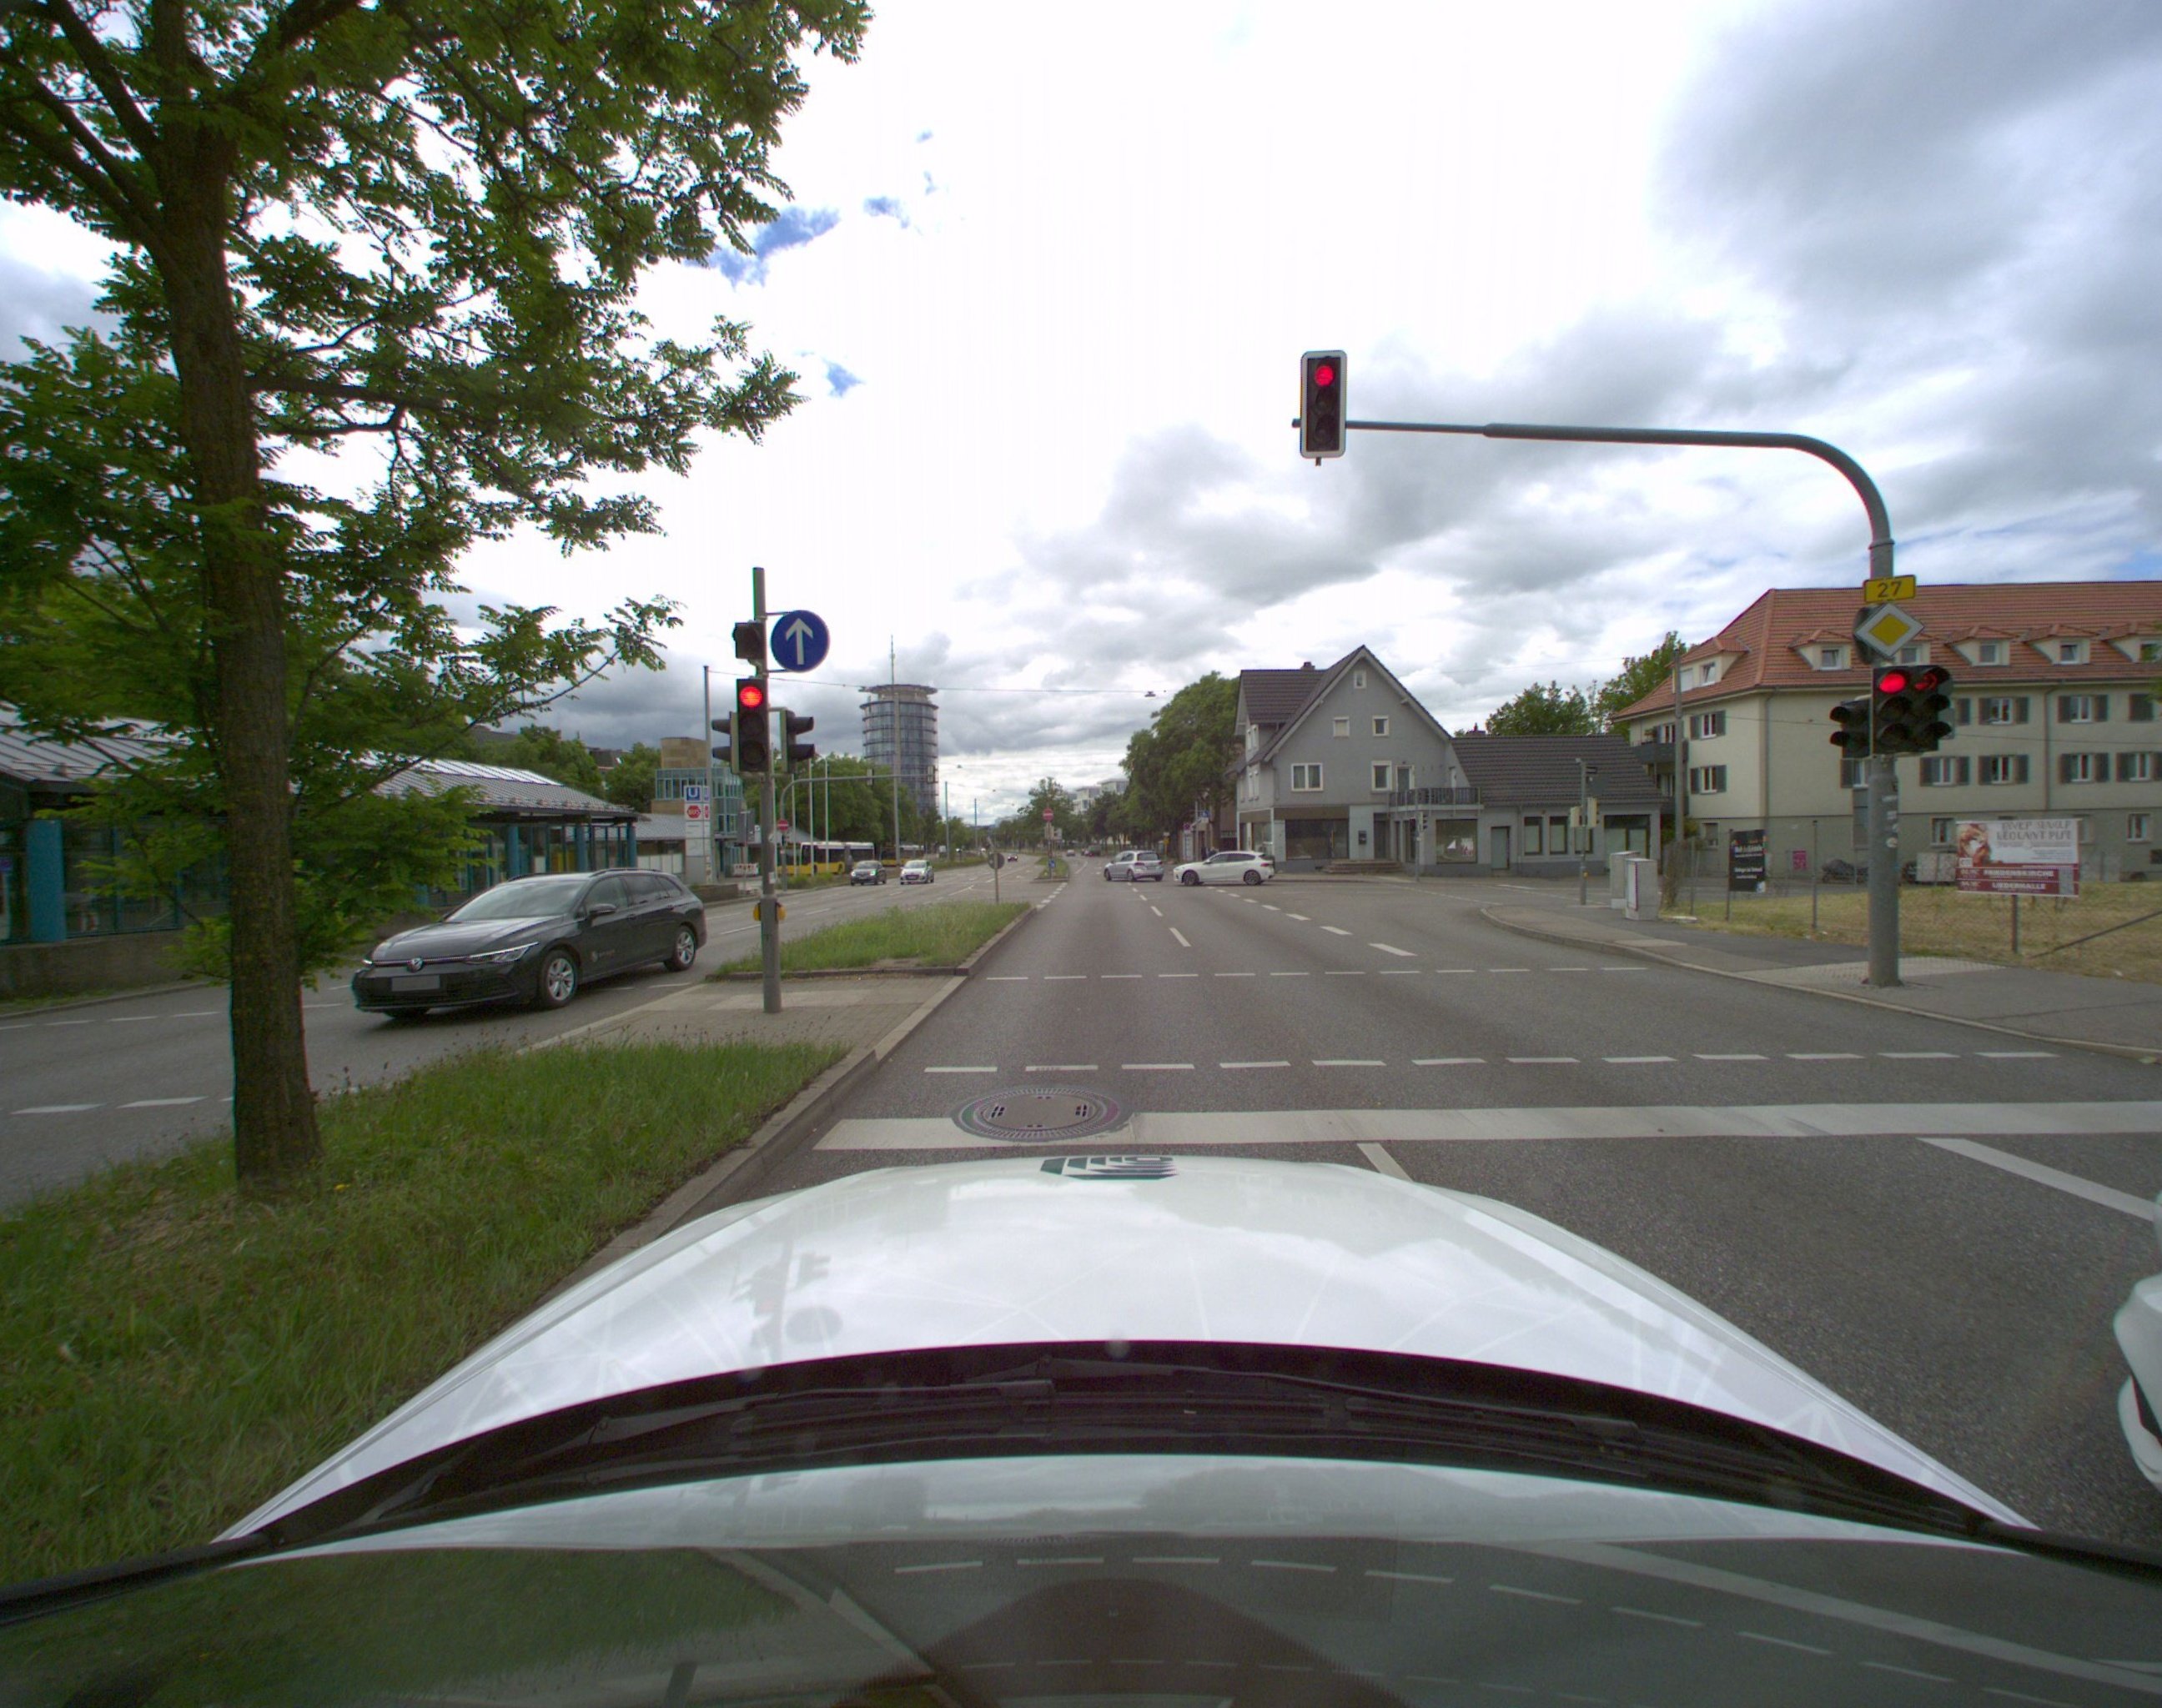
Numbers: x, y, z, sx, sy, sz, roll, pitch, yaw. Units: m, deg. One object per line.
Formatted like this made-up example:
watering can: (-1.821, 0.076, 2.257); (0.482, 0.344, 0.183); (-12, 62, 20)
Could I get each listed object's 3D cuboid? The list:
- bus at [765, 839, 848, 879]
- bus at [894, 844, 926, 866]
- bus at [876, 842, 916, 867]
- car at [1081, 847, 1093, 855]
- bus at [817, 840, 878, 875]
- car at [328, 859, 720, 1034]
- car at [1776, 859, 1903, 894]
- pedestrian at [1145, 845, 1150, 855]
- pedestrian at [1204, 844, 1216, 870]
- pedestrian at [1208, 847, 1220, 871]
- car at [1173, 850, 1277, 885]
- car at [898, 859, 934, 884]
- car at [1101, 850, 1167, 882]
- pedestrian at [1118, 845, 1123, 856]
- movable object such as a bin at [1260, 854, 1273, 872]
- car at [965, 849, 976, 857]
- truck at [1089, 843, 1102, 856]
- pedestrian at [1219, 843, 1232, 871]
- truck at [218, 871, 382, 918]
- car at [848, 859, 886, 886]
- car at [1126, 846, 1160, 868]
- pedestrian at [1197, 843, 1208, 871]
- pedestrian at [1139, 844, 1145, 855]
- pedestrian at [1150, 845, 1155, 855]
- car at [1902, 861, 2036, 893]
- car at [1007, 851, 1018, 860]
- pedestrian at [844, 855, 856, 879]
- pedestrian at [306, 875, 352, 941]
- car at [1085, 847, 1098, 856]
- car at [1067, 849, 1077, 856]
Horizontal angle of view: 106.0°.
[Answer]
bus: (-24.324, 0.401, 72.880); (2.975, 3.250, 10.186); (-2, 0, 6)
bus: (-26.034, 0.120, 124.339); (3.134, 3.225, 7.765); (-2, 0, 0)
bus: (-26.093, 0.095, 115.330); (3.135, 3.225, 10.282); (-2, 0, 0)
car: (1.295, -0.559, 174.117); (2.246, 1.647, 4.927); (-2, 0, -3)
bus: (-23.352, 0.368, 81.879); (2.975, 3.270, 7.889); (-2, 0, 6)
car: (-6.355, 0.915, 10.047); (1.703, 1.481, 4.289); (-5, 0, 1)
car: (34.039, 0.986, 36.624); (3.972, 1.537, 1.871); (0, 0, 2)
pedestrian: (10.437, -0.602, 127.937); (0.649, 1.570, 0.669); (-2, 0, -6)
pedestrian: (8.933, 0.226, 56.315); (0.700, 1.780, 0.873); (-2, 0, 11)
pedestrian: (8.623, 0.333, 52.957); (0.701, 1.507, 0.872); (-2, 0, 8)
car: (6.317, 0.577, 35.594); (4.207, 1.477, 2.010); (-1, 0, 19)
car: (-10.341, 1.055, 51.333); (1.680, 1.462, 3.552); (-2, 0, -3)
car: (2.705, 0.584, 42.311); (1.830, 1.540, 4.084); (0, 0, -22)
pedestrian: (8.421, -0.768, 175.295); (0.930, 2.308, 1.008); (0, -1, -8)
movable object such as a bin: (10.030, 0.477, 43.967); (0.527, 0.979, 0.737); (-2, 0, 2)
car: (-27.252, -0.177, 201.230); (1.958, 2.014, 4.001); (0, -1, 2)
truck: (2.759, -0.819, 156.681); (2.246, 2.416, 4.928); (-1, 0, -3)
pedestrian: (9.330, 0.214, 52.551); (0.702, 1.760, 1.054); (-2, 0, 6)
truck: (-28.806, 1.449, 30.244); (4.013, 1.517, 1.980); (-2, 0, -31)
car: (-13.494, 1.146, 51.545); (1.681, 1.578, 3.344); (-2, 0, -4)
car: (4.455, 0.240, 59.002); (1.885, 1.494, 4.094); (-2, -1, -3)
pedestrian: (8.014, 0.208, 53.744); (0.701, 1.780, 0.872); (-2, 0, 7)
pedestrian: (10.981, -0.826, 146.634); (0.967, 2.014, 0.981); (0, -1, 1)
pedestrian: (11.226, -0.607, 127.969); (0.649, 1.570, 0.669); (-2, 0, -6)
car: (39.809, 1.024, 36.586); (3.972, 1.377, 1.871); (0, 0, 2)
car: (-12.107, 0.304, 143.988); (1.696, 1.492, 3.562); (-2, 0, 1)
pedestrian: (-18.366, 1.053, 64.780); (0.658, 1.897, 0.686); (-2, 0, 1)
pedestrian: (-21.002, 1.494, 22.750); (0.527, 1.762, 0.755); (-2, 0, -2)
car: (2.102, -0.476, 165.295); (2.246, 1.757, 4.928); (-2, 0, -3)
car: (-1.905, -0.358, 173.483); (1.963, 1.420, 4.017); (-2, 0, -3)
